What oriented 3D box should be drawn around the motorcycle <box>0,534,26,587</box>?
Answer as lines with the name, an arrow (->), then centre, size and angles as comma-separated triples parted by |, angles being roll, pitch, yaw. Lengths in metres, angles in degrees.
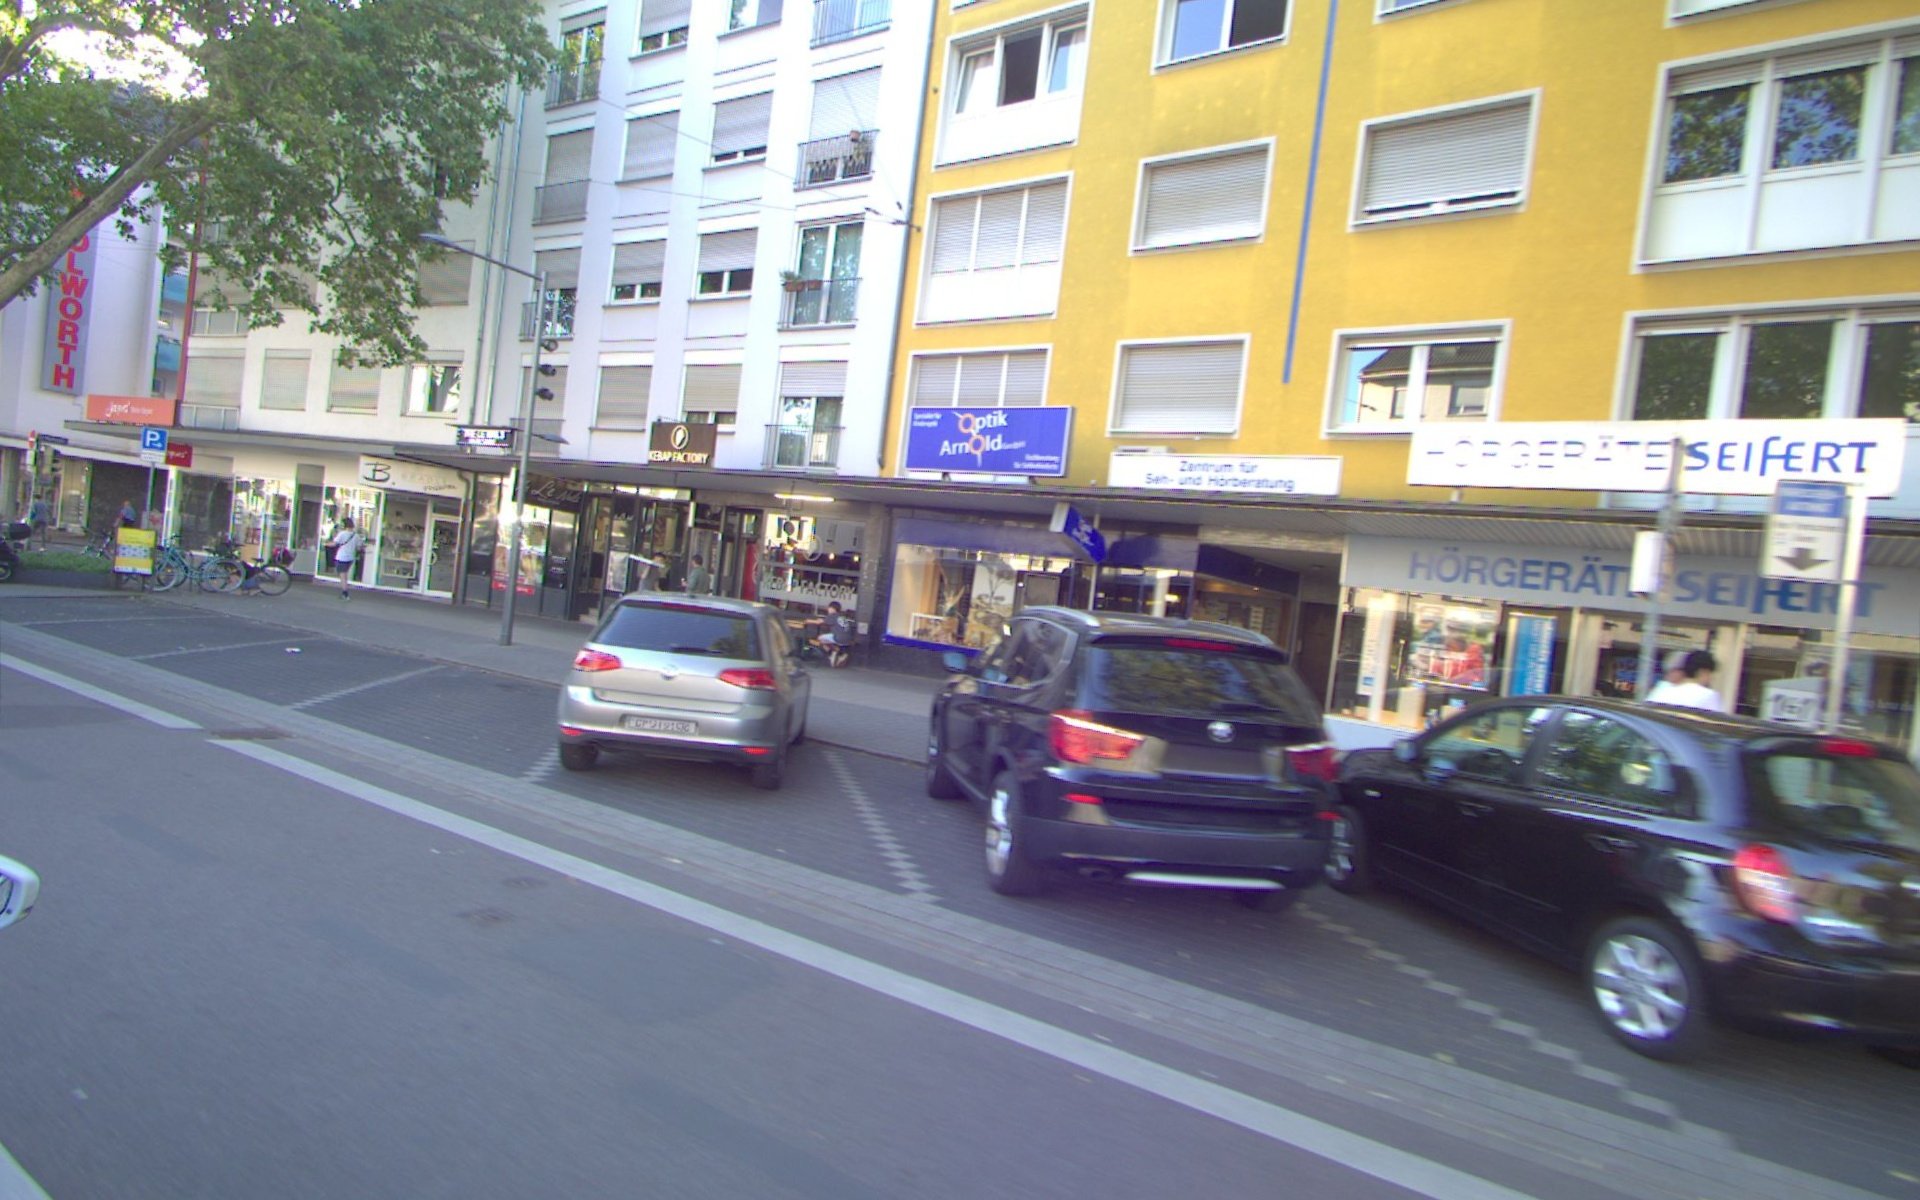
motorcycle -> -17.557, -0.765, 17.656 | 0.535, 0.903, 1.573 | 7, 0, 29

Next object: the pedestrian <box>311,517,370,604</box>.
pedestrian -> -14.410, -0.917, 23.403 | 0.809, 1.900, 0.645 | 6, 1, 18

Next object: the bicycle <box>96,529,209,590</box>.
bicycle -> -17.546, -0.853, 21.909 | 0.660, 1.205, 1.788 | 6, 2, 23

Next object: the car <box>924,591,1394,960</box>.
car -> 0.951, 0.885, 7.061 | 1.779, 1.702, 4.145 | 6, 0, -9

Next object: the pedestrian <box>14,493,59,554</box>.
pedestrian -> -29.627, -2.455, 32.283 | 0.751, 1.816, 0.781 | 7, 1, 32

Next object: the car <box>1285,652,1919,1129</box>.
car -> 3.559, 1.263, 5.673 | 1.712, 1.559, 3.603 | 6, 0, -9

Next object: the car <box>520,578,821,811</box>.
car -> -2.311, 0.672, 9.155 | 1.778, 1.469, 4.173 | 6, 0, -6

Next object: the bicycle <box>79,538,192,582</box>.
bicycle -> -18.955, -0.908, 23.151 | 0.701, 0.775, 1.874 | 7, 0, 40

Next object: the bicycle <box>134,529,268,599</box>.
bicycle -> -16.147, -0.743, 21.449 | 0.818, 1.248, 2.079 | 7, 1, 36

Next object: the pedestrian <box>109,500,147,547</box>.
pedestrian -> -32.989, -3.020, 39.906 | 0.820, 1.700, 0.749 | 9, 2, 25

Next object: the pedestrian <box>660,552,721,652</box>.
pedestrian -> -5.156, 0.036, 19.259 | 0.776, 1.816, 0.705 | 7, 4, 37

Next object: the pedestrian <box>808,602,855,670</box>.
pedestrian -> -2.360, 0.660, 18.480 | 0.615, 1.171, 0.418 | 7, 1, 35

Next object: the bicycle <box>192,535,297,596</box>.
bicycle -> -15.962, -0.755, 22.466 | 0.668, 1.169, 1.761 | 7, 2, 40

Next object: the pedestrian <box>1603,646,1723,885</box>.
pedestrian -> 5.782, 1.330, 8.301 | 0.466, 1.855, 0.517 | 6, 1, 10

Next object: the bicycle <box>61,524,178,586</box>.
bicycle -> -18.524, -0.975, 22.202 | 0.701, 1.205, 1.872 | 7, 3, 40

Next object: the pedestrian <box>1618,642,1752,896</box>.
pedestrian -> 5.608, 1.278, 7.808 | 0.466, 1.855, 0.517 | 6, 1, 3

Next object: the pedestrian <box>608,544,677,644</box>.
pedestrian -> -6.351, -0.107, 20.159 | 0.724, 1.900, 0.912 | 7, 1, 28
